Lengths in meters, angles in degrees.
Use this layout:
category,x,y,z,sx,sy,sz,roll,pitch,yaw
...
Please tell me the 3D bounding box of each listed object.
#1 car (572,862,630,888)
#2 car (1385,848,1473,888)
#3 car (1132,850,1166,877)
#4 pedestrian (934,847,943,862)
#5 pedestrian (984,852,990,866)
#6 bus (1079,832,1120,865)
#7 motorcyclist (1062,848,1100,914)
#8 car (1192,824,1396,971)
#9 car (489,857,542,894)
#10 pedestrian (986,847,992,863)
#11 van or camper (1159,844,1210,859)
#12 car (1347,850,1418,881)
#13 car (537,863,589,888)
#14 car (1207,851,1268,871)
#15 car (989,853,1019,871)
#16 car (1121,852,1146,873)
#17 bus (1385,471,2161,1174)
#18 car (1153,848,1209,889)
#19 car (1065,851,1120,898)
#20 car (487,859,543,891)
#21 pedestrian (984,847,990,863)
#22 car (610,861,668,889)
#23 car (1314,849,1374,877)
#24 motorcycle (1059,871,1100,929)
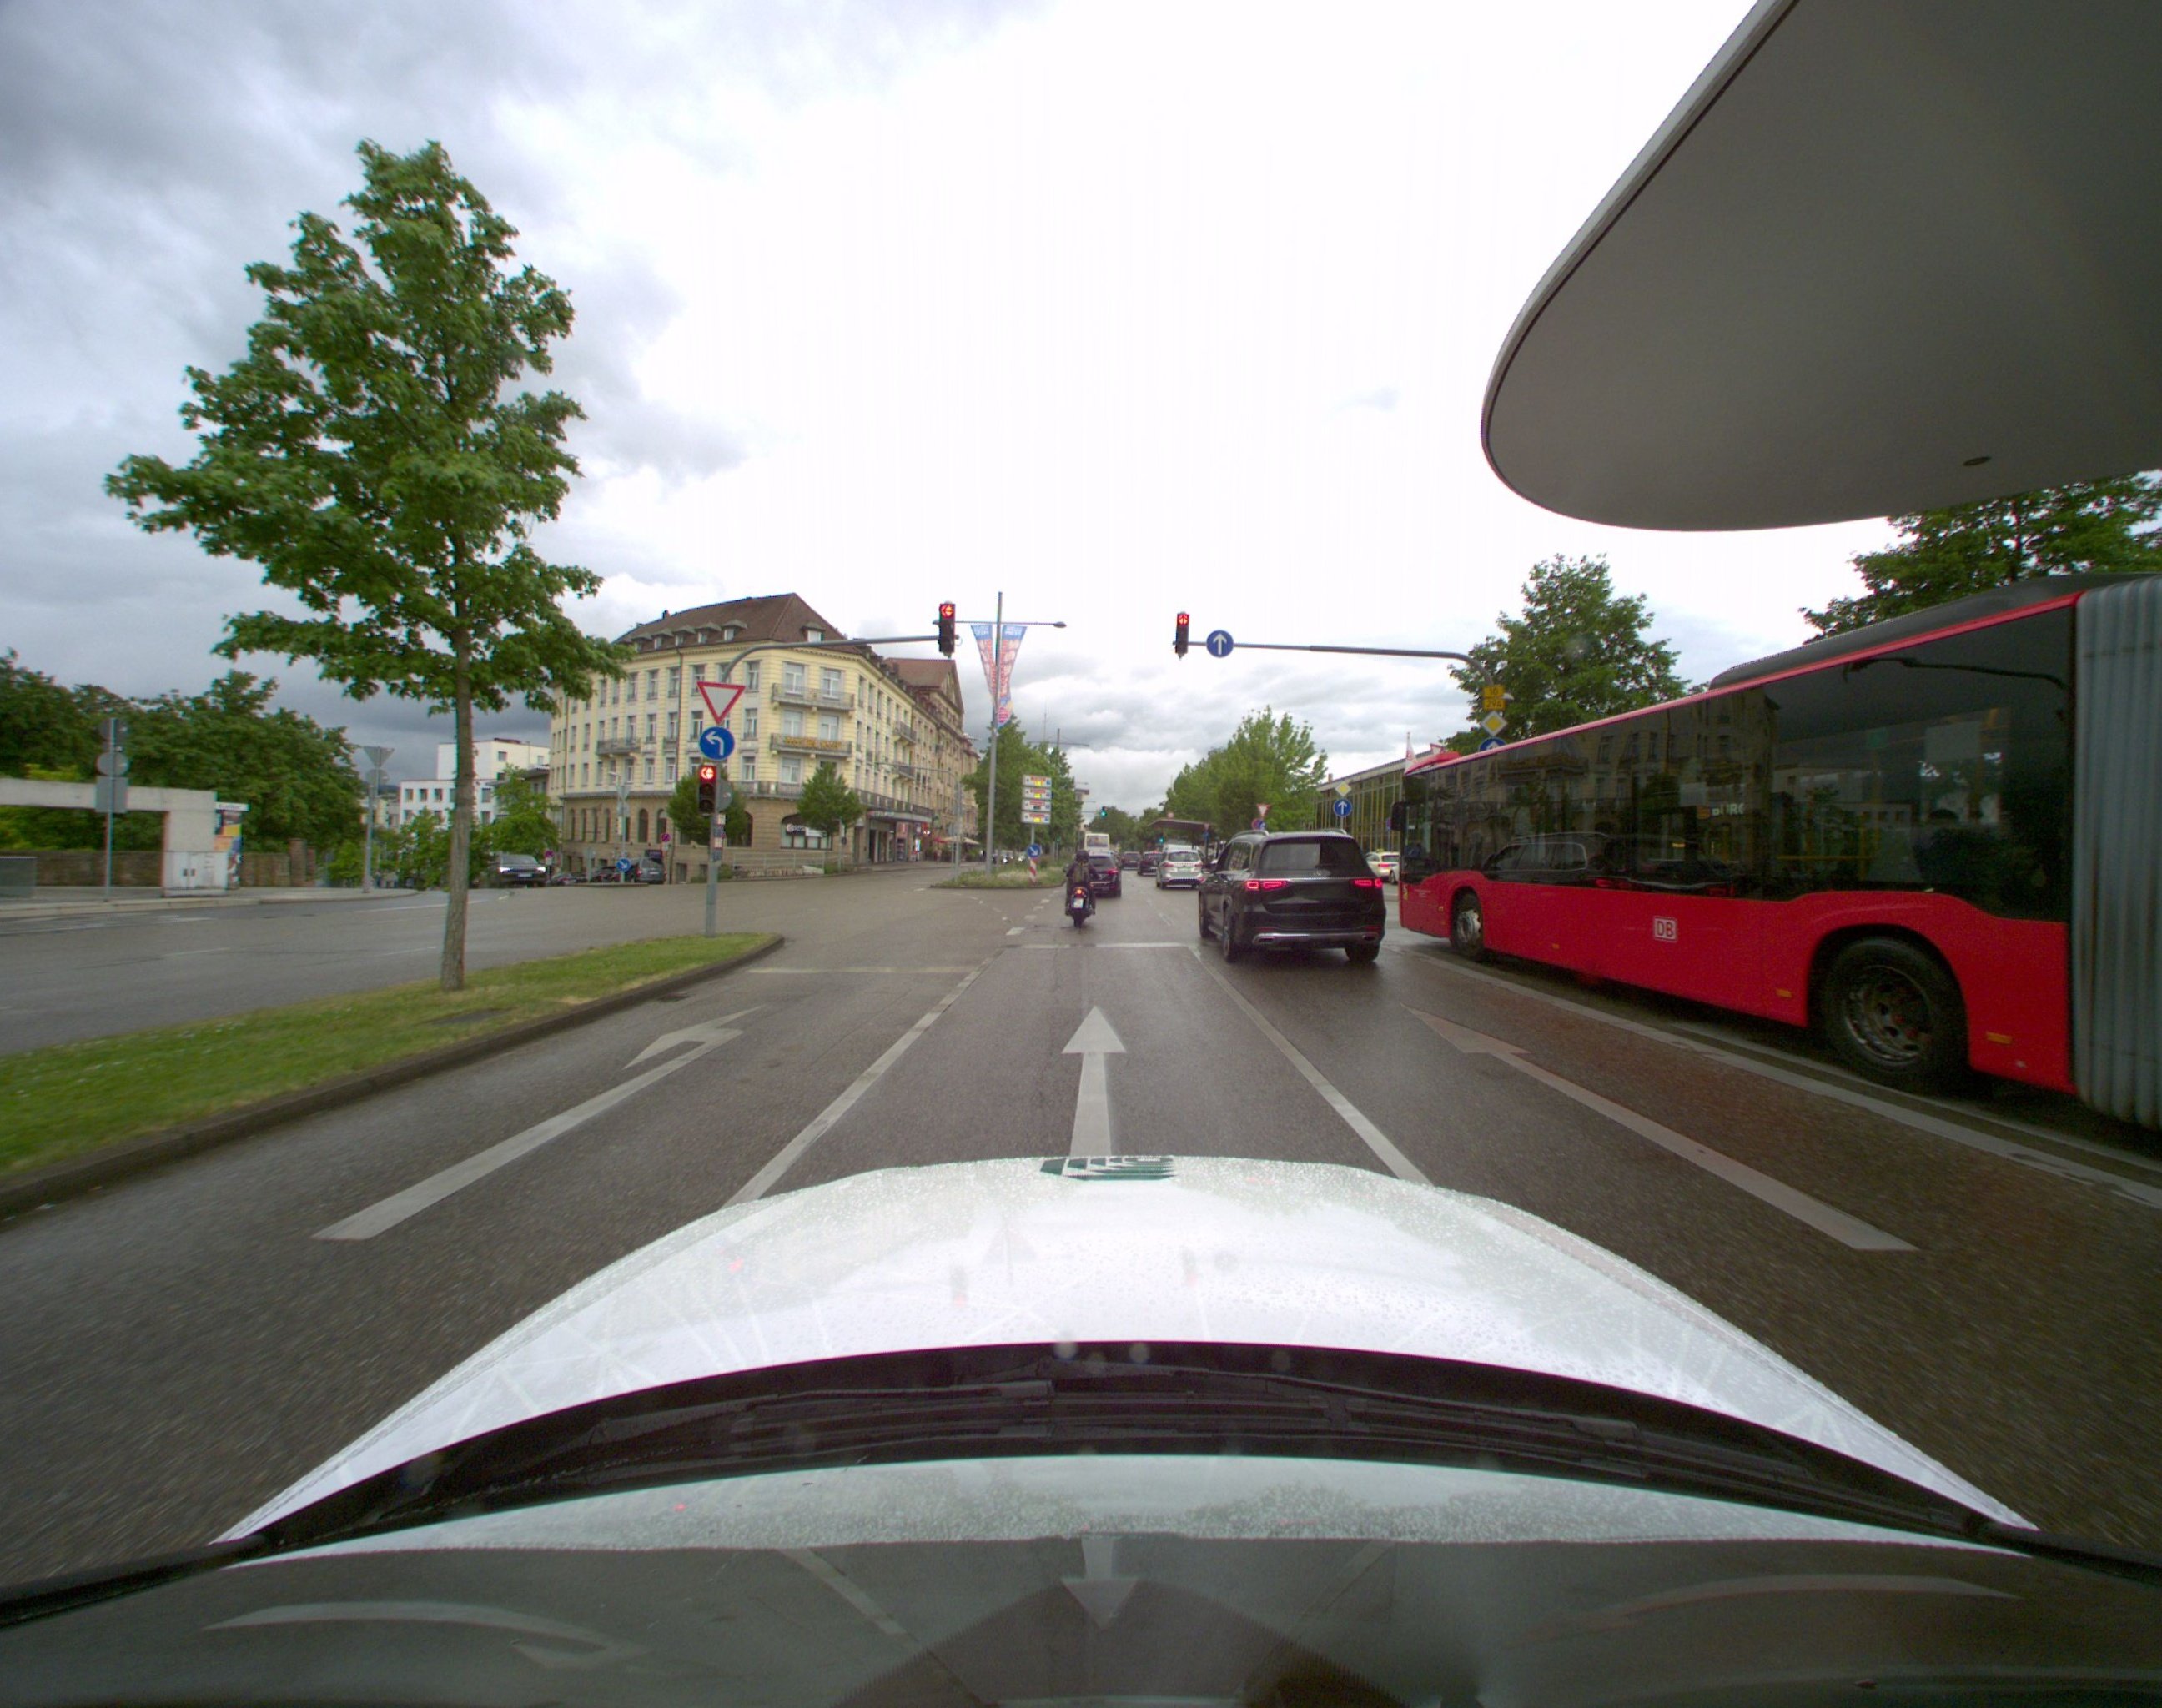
category,x,y,z,sx,sy,sz,roll,pitch,yaw
car,-31.922,1.396,54.116,3.948,1.640,2.013,-1,-1,37
car,14.764,0.555,34.833,1.768,1.589,4.615,0,0,0
car,4.114,0.538,49.850,1.805,1.581,3.903,0,0,0
pedestrian,-14.047,0.058,80.283,0.666,1.510,0.513,0,0,-37
pedestrian,-11.818,0.618,101.988,0.672,1.701,0.634,0,0,1
bus,1.819,-0.539,88.242,3.750,3.209,15.517,0,0,-1
motorcyclist,0.008,0.537,16.797,0.761,1.331,0.866,0,0,1
car,2.946,0.521,12.380,1.986,1.806,4.691,0,0,1
car,-26.893,0.954,38.676,1.836,1.640,4.547,0,0,-38
pedestrian,-11.405,0.120,101.308,0.756,2.013,0.832,0,0,-5
van or camper,14.280,-0.330,111.964,6.787,2.014,2.365,0,-1,-25
car,14.882,0.528,40.490,1.840,1.451,4.666,0,0,0
car,-36.274,1.483,57.022,3.864,1.640,1.805,0,0,37
car,11.525,0.482,60.119,1.788,1.385,4.317,0,0,-39
car,-8.209,0.821,87.006,1.760,1.530,4.093,-13,-2,13
car,4.228,0.634,65.953,1.805,1.642,3.903,0,0,0
bus,6.383,-0.155,8.672,2.733,3.174,10.198,0,0,2
car,3.954,0.544,32.824,1.844,1.567,4.001,0,0,1
car,0.422,0.629,27.232,1.702,1.448,4.001,0,0,1
car,-37.366,1.356,53.732,3.949,2.013,2.012,0,0,40
pedestrian,-11.779,0.131,102.208,0.756,2.013,0.832,0,0,-5
car,-27.038,1.244,49.794,3.949,1.568,1.812,0,0,40
car,15.016,0.473,46.779,1.907,1.524,4.741,0,0,0
motorcycle,0.004,0.900,16.663,0.763,1.077,2.176,0,0,2
